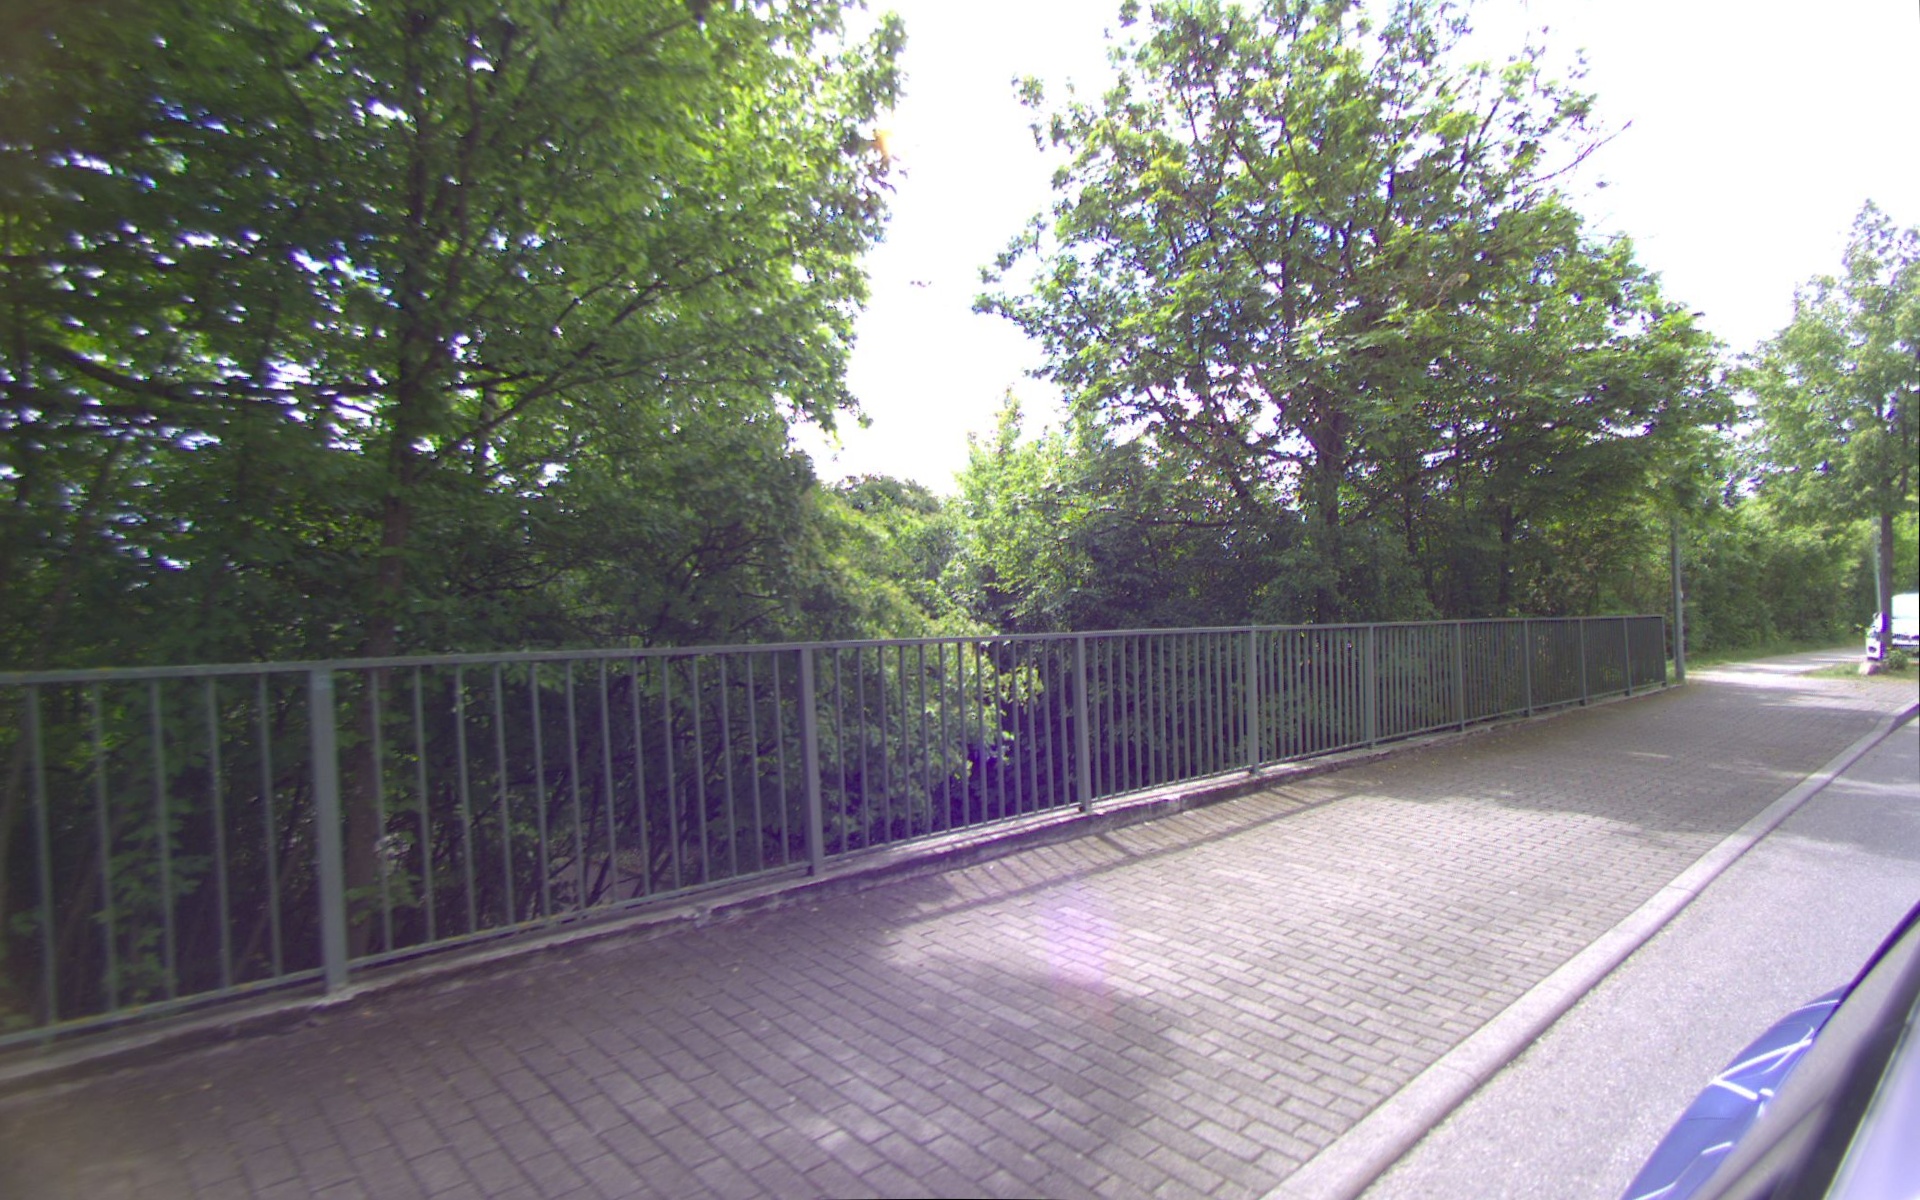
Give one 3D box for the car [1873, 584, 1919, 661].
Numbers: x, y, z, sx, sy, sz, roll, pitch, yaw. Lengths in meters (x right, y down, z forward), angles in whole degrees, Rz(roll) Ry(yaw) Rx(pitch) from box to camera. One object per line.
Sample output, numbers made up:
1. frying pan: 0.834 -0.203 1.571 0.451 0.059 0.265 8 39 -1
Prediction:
1. car: 21.880 0.479 22.476 4.294 1.620 1.808 0 1 -40
